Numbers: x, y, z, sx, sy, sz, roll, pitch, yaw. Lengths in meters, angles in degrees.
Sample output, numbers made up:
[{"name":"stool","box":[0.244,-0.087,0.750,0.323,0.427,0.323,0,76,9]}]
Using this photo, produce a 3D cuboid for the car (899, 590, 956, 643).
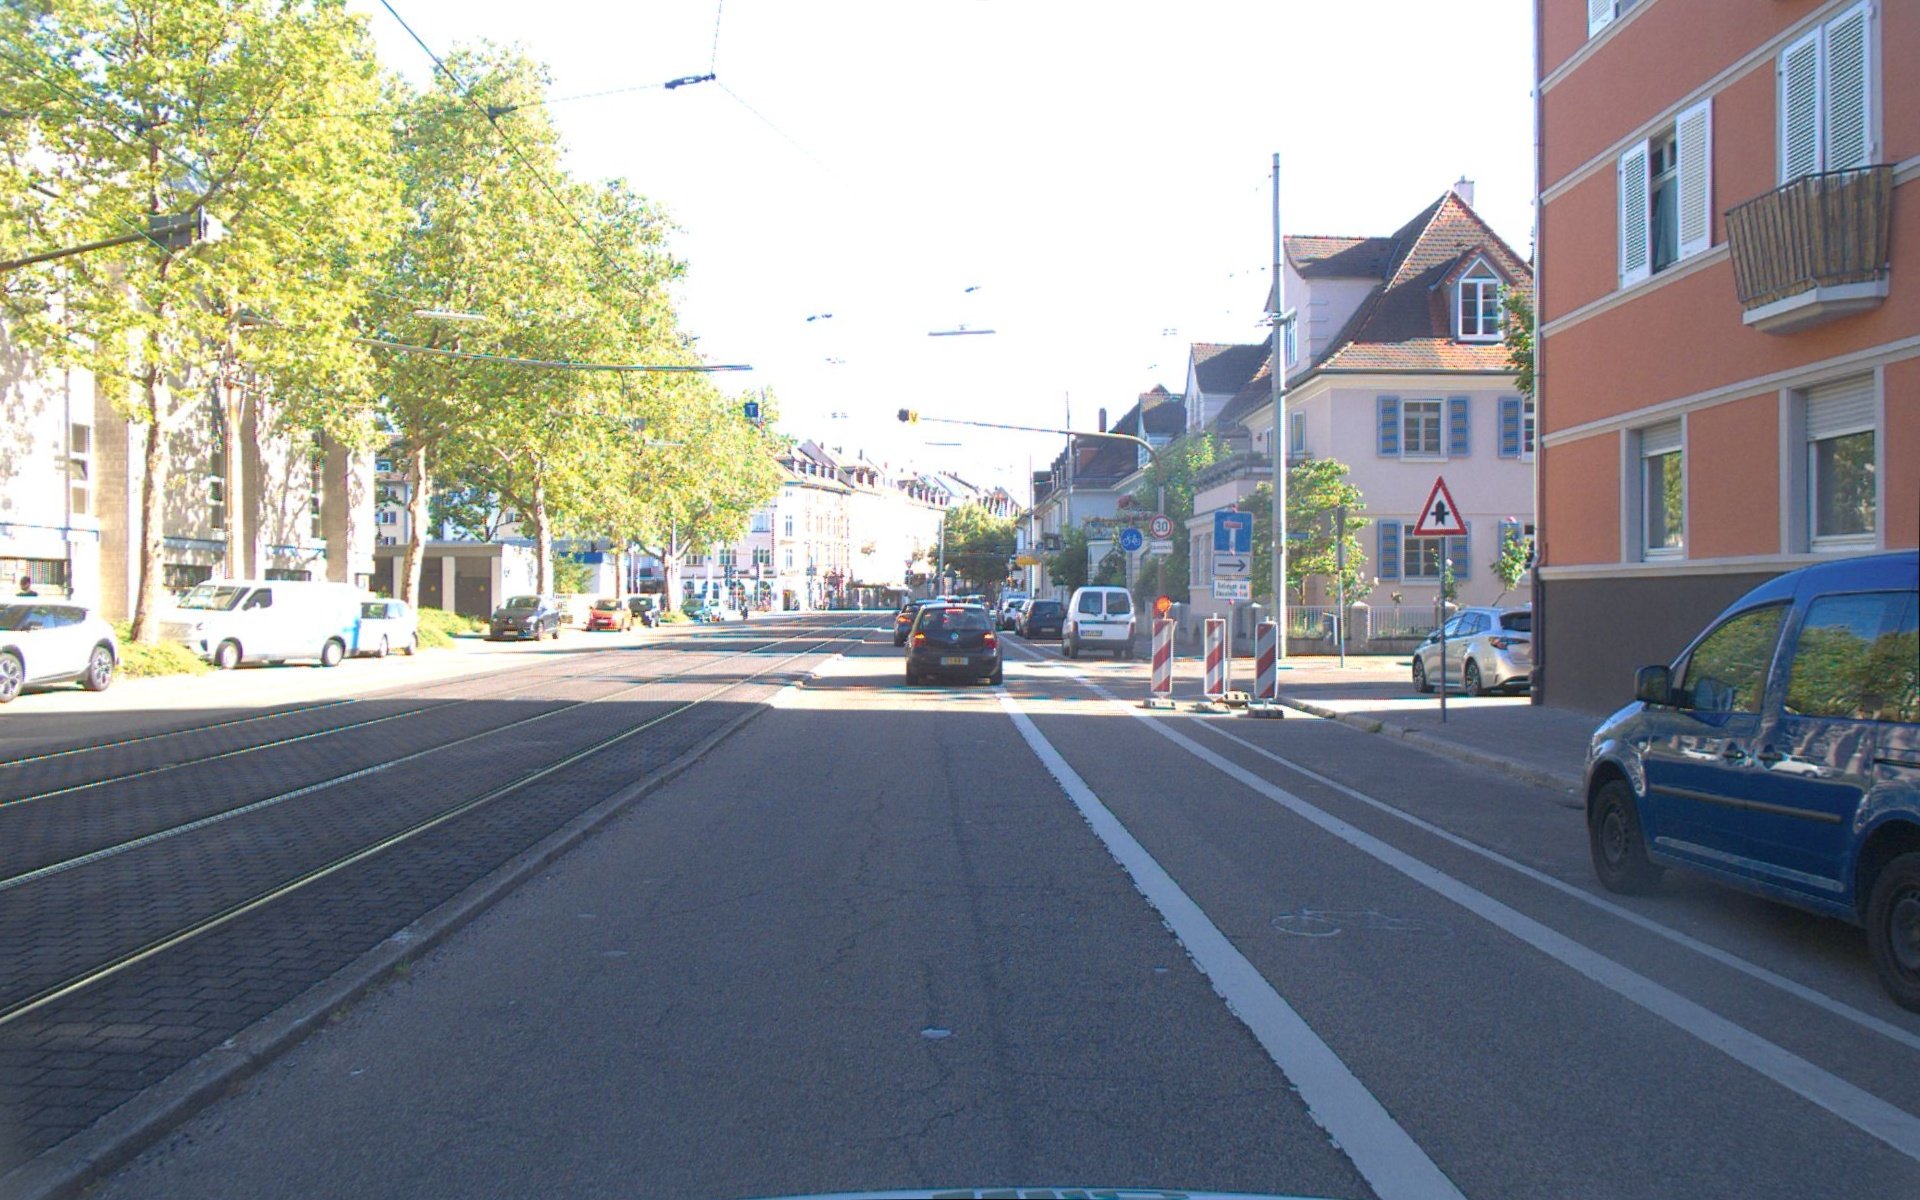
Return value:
[{"name":"car","box":[-0.997,0.487,51.647,1.713,1.564,3.891,0,0,-1]}]

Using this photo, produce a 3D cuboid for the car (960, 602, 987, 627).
[{"name":"car","box":[0.858,0.908,104.760,1.603,1.498,3.728,0,0,-1]}]

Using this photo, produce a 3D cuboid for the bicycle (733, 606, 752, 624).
[{"name":"bicycle","box":[-14.618,0.980,111.227,0.895,1.102,3.202,2,0,-1]}]

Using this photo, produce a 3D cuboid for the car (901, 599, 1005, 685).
[{"name":"car","box":[-0.186,0.704,29.711,1.713,1.399,3.998,0,0,-3]}]

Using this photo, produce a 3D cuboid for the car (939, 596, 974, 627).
[{"name":"car","box":[-0.190,0.538,79.843,1.603,1.498,3.728,0,0,-1]}]

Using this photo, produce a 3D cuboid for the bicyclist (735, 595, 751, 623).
[{"name":"bicyclist","box":[-14.616,0.603,111.304,0.895,1.865,0.960,2,0,-1]}]

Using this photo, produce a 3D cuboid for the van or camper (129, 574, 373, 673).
[{"name":"van or camper","box":[-15.583,0.479,36.721,2.017,1.983,5.191,2,0,18]}]

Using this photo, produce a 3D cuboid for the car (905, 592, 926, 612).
[{"name":"car","box":[-3.364,0.137,125.105,1.603,1.498,3.728,0,0,-1]}]

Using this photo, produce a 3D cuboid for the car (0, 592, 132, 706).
[{"name":"car","box":[-15.298,0.725,26.376,1.971,1.600,4.691,2,1,-3]}]

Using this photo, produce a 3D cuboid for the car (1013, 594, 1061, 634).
[{"name":"car","box":[3.103,0.550,67.120,1.713,1.564,3.955,0,0,-1]}]

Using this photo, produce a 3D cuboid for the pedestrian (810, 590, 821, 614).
[{"name":"pedestrian","box":[-16.210,0.203,185.777,0.936,2.706,1.100,2,0,4]}]

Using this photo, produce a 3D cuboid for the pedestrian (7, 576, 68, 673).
[{"name":"pedestrian","box":[-17.983,0.477,32.254,0.780,1.852,0.670,2,0,-2]}]

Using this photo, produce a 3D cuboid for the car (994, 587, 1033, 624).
[{"name":"car","box":[2.723,0.270,85.281,1.780,1.830,3.999,0,0,-1]}]

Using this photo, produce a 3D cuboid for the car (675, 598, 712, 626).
[{"name":"car","box":[-17.142,0.749,106.388,1.846,1.698,3.803,2,0,-2]}]

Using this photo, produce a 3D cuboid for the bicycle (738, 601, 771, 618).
[{"name":"bicycle","box":[-17.246,0.790,138.926,2.687,1.285,0.706,2,0,-2]}]

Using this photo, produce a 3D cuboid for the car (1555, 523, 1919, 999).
[{"name":"car","box":[4.502,0.638,7.775,1.668,1.842,4.269,2,0,-3]}]

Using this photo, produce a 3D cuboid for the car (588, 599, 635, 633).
[{"name":"car","box":[-16.299,0.774,77.507,1.538,1.560,3.571,0,-1,-1]}]

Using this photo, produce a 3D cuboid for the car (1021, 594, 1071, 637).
[{"name":"car","box":[3.226,0.564,62.675,1.627,1.552,4.035,0,0,-1]}]

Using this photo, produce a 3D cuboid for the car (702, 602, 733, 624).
[{"name":"car","box":[-16.526,0.878,112.743,1.603,1.498,3.728,0,0,-1]}]

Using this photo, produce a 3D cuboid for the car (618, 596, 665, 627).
[{"name":"car","box":[-16.664,0.573,86.712,1.756,1.491,3.835,3,0,-1]}]

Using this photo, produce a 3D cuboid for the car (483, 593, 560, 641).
[{"name":"car","box":[-16.090,0.606,60.923,1.849,1.695,3.999,0,0,-1]}]

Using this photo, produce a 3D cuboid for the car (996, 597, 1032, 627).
[{"name":"car","box":[2.619,0.571,80.343,1.548,1.399,3.999,0,0,-1]}]

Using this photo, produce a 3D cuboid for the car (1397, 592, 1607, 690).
[{"name":"car","box":[8.583,0.697,26.623,1.668,1.413,4.513,-1,-2,-3]}]

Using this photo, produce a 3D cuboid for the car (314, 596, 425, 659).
[{"name":"car","box":[-15.703,0.700,44.179,1.542,1.533,4.089,2,0,-1]}]

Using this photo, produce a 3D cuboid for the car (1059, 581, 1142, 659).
[{"name":"car","box":[3.601,0.482,42.923,1.723,1.870,3.547,2,0,-1]}]

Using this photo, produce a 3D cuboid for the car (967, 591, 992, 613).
[{"name":"car","box":[1.355,0.109,116.047,1.603,1.498,3.728,0,0,-1]}]
